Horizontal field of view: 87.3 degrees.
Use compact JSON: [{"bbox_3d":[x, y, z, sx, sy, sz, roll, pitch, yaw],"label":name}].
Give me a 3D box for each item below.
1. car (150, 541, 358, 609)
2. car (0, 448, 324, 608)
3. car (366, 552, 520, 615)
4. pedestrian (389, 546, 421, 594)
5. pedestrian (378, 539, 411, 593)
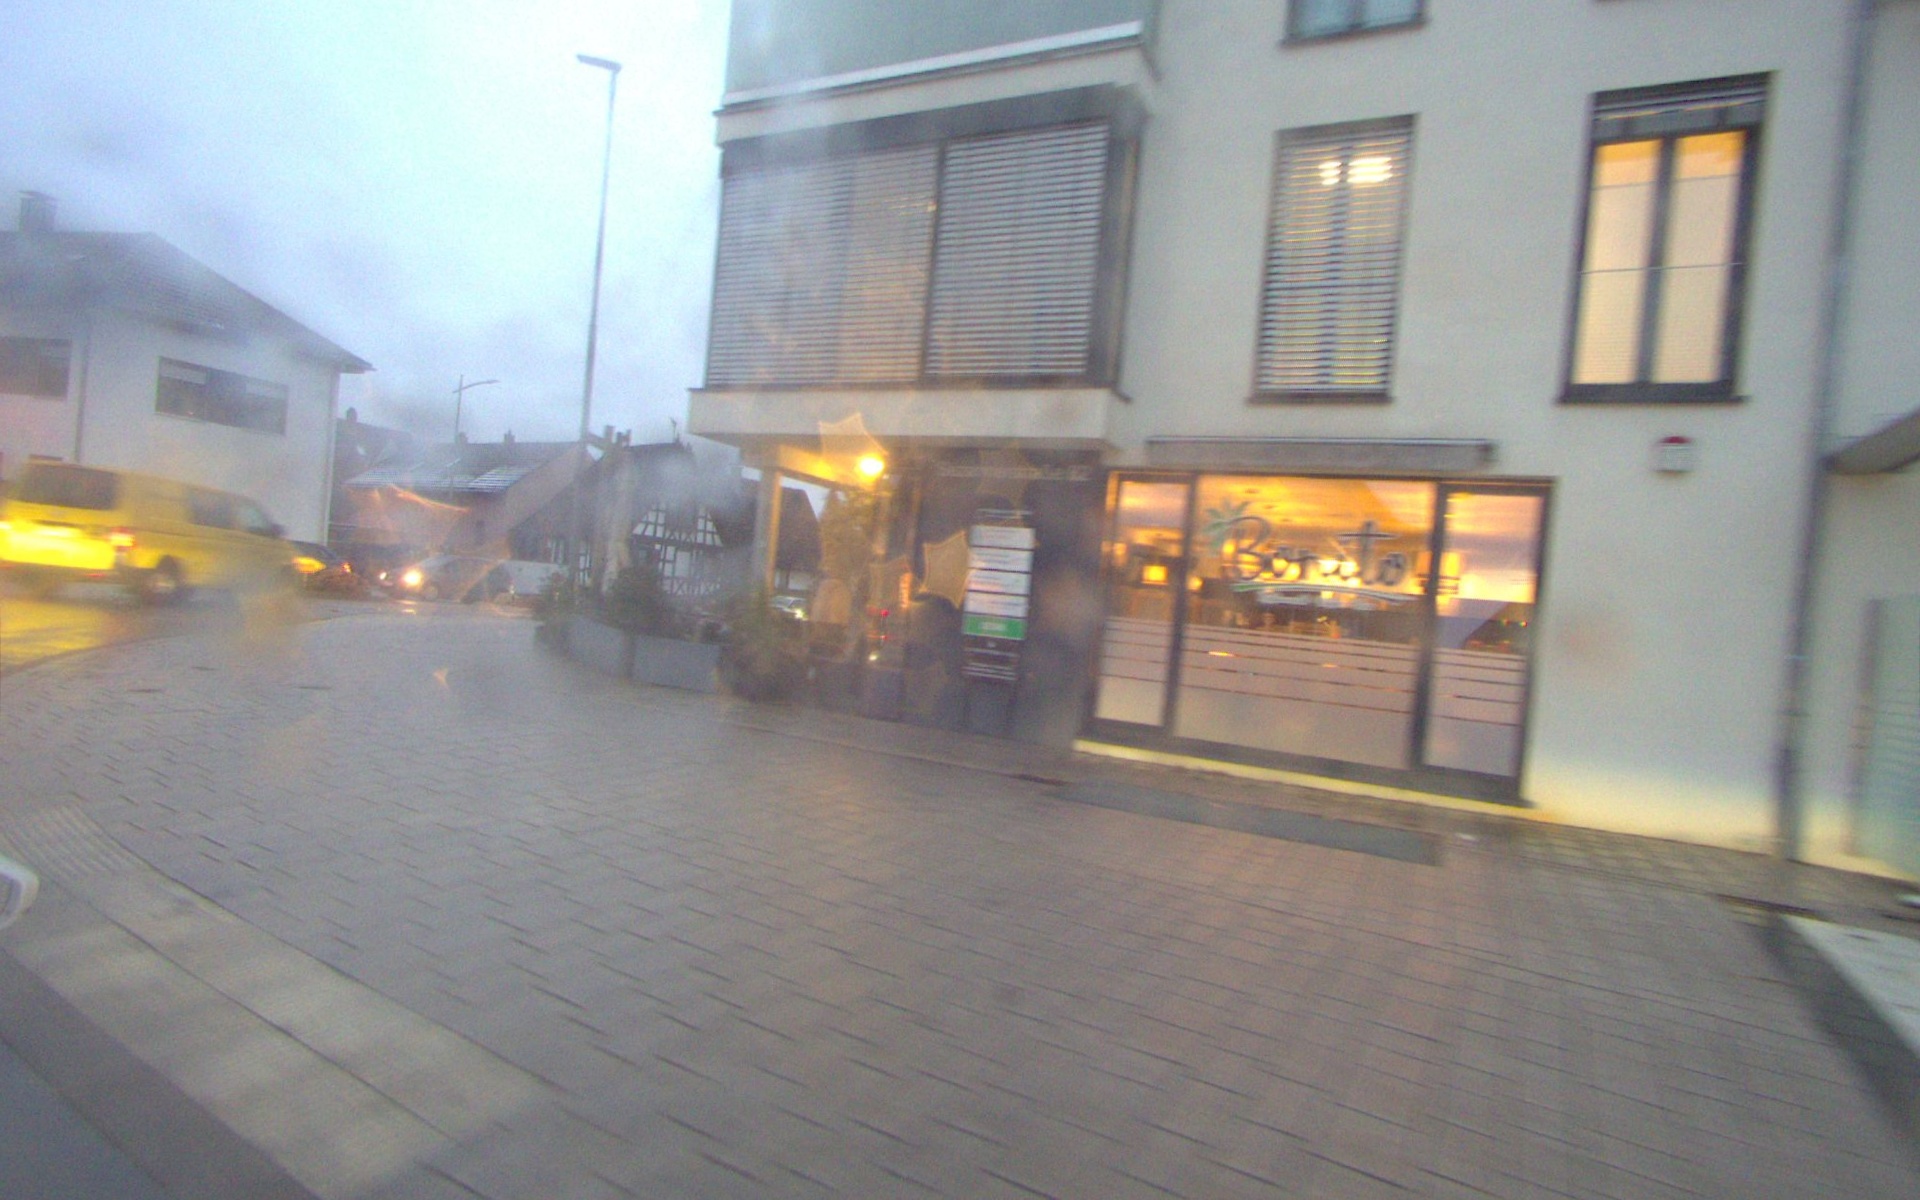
[{"bbox_3d":[-19.028,-0.628,27.331,1.819,1.400,4.231,3,-2,27],"label":"car"},{"bbox_3d":[-12.895,-0.991,16.464,1.964,2.038,4.897,6,-1,-4],"label":"car"},{"bbox_3d":[-16.278,-0.479,31.886,1.669,1.570,3.993,4,-2,31],"label":"car"},{"bbox_3d":[-20.282,-1.094,36.748,0.574,1.641,0.714,7,1,39],"label":"pedestrian"},{"bbox_3d":[-20.855,-1.247,37.095,0.628,1.855,0.714,8,2,39],"label":"pedestrian"}]
